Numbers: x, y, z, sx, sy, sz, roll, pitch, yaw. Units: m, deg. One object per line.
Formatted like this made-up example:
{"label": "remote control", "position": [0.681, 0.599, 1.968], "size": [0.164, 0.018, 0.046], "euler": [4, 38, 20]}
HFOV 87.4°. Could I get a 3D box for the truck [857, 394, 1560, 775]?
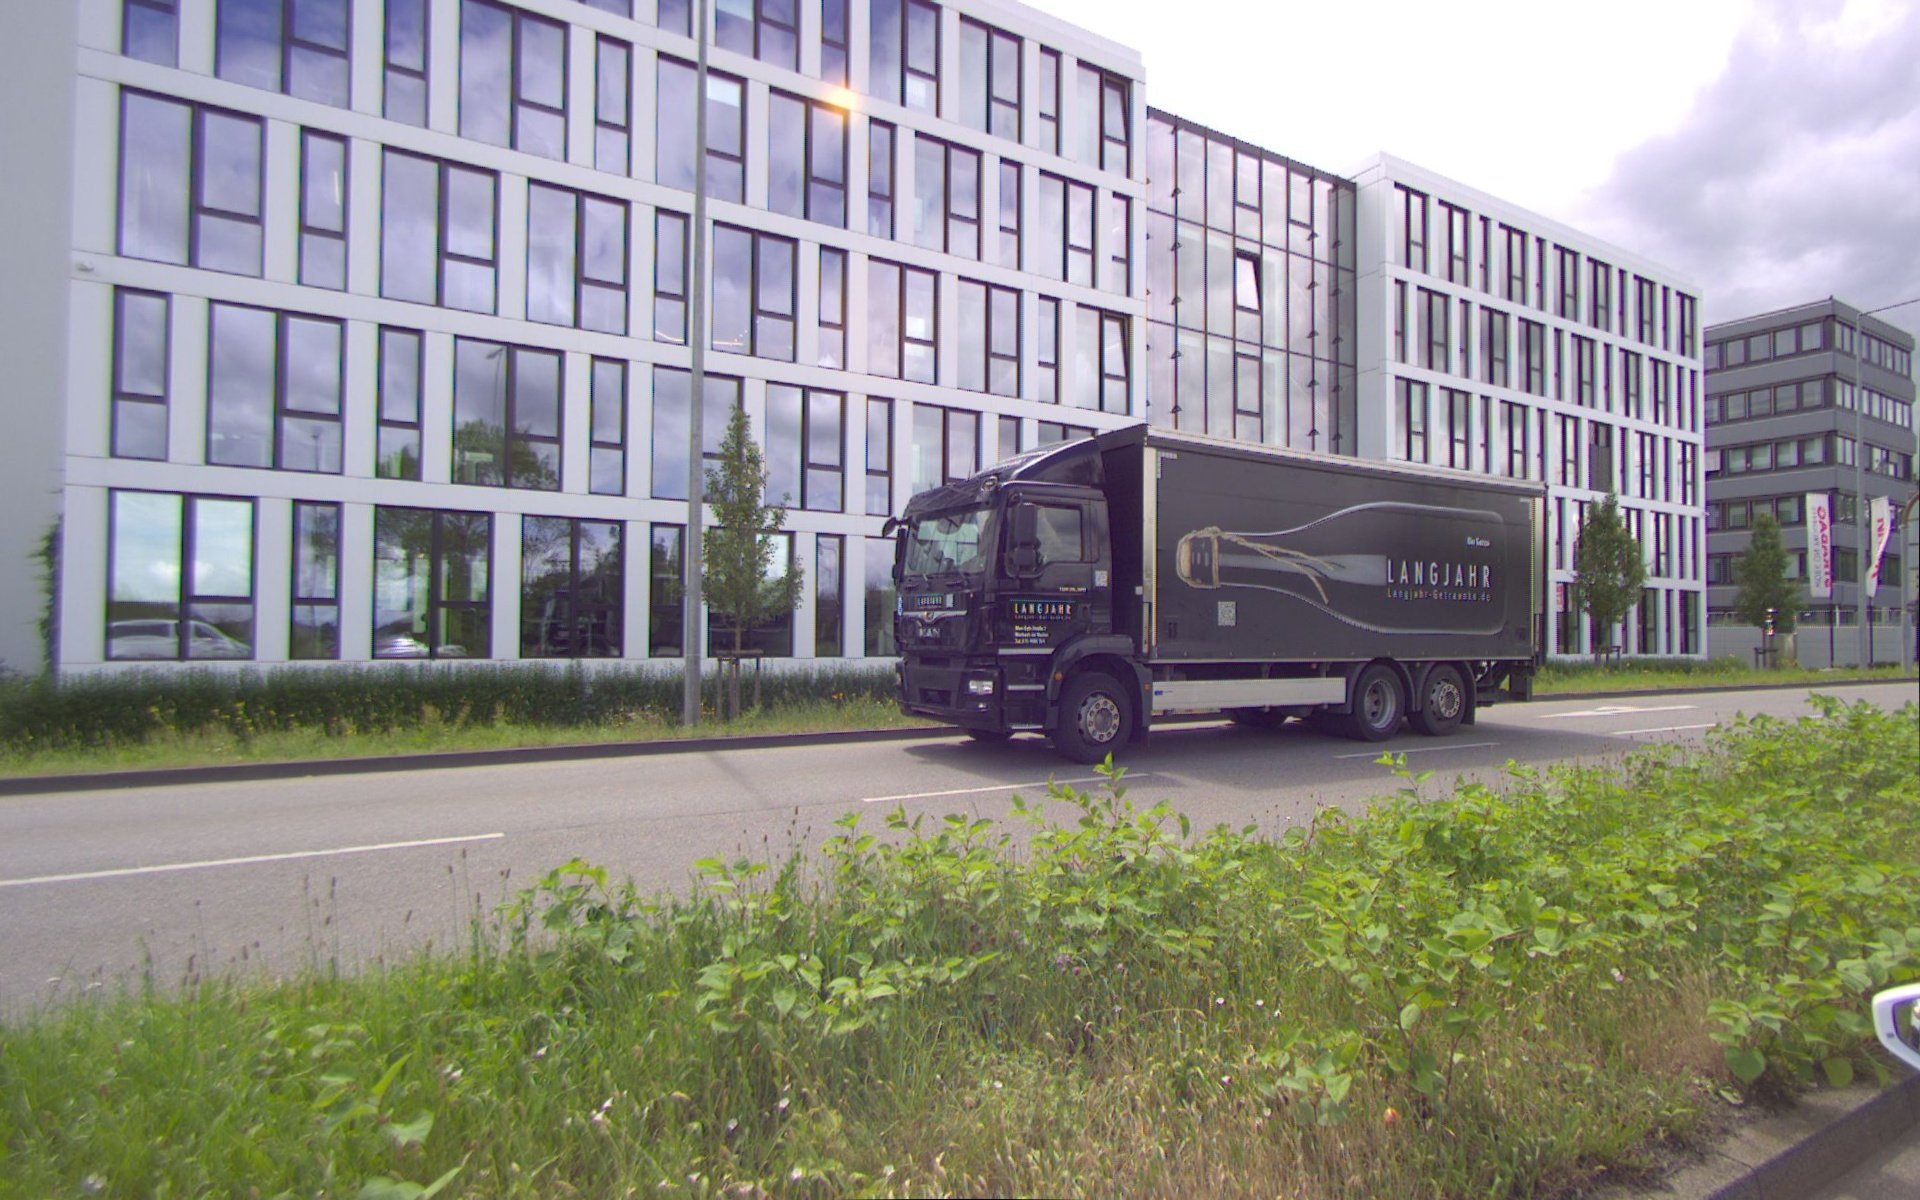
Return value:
{"label": "truck", "position": [3.596, -0.068, 13.143], "size": [9.413, 3.564, 3.153], "euler": [1, -1, -30]}
